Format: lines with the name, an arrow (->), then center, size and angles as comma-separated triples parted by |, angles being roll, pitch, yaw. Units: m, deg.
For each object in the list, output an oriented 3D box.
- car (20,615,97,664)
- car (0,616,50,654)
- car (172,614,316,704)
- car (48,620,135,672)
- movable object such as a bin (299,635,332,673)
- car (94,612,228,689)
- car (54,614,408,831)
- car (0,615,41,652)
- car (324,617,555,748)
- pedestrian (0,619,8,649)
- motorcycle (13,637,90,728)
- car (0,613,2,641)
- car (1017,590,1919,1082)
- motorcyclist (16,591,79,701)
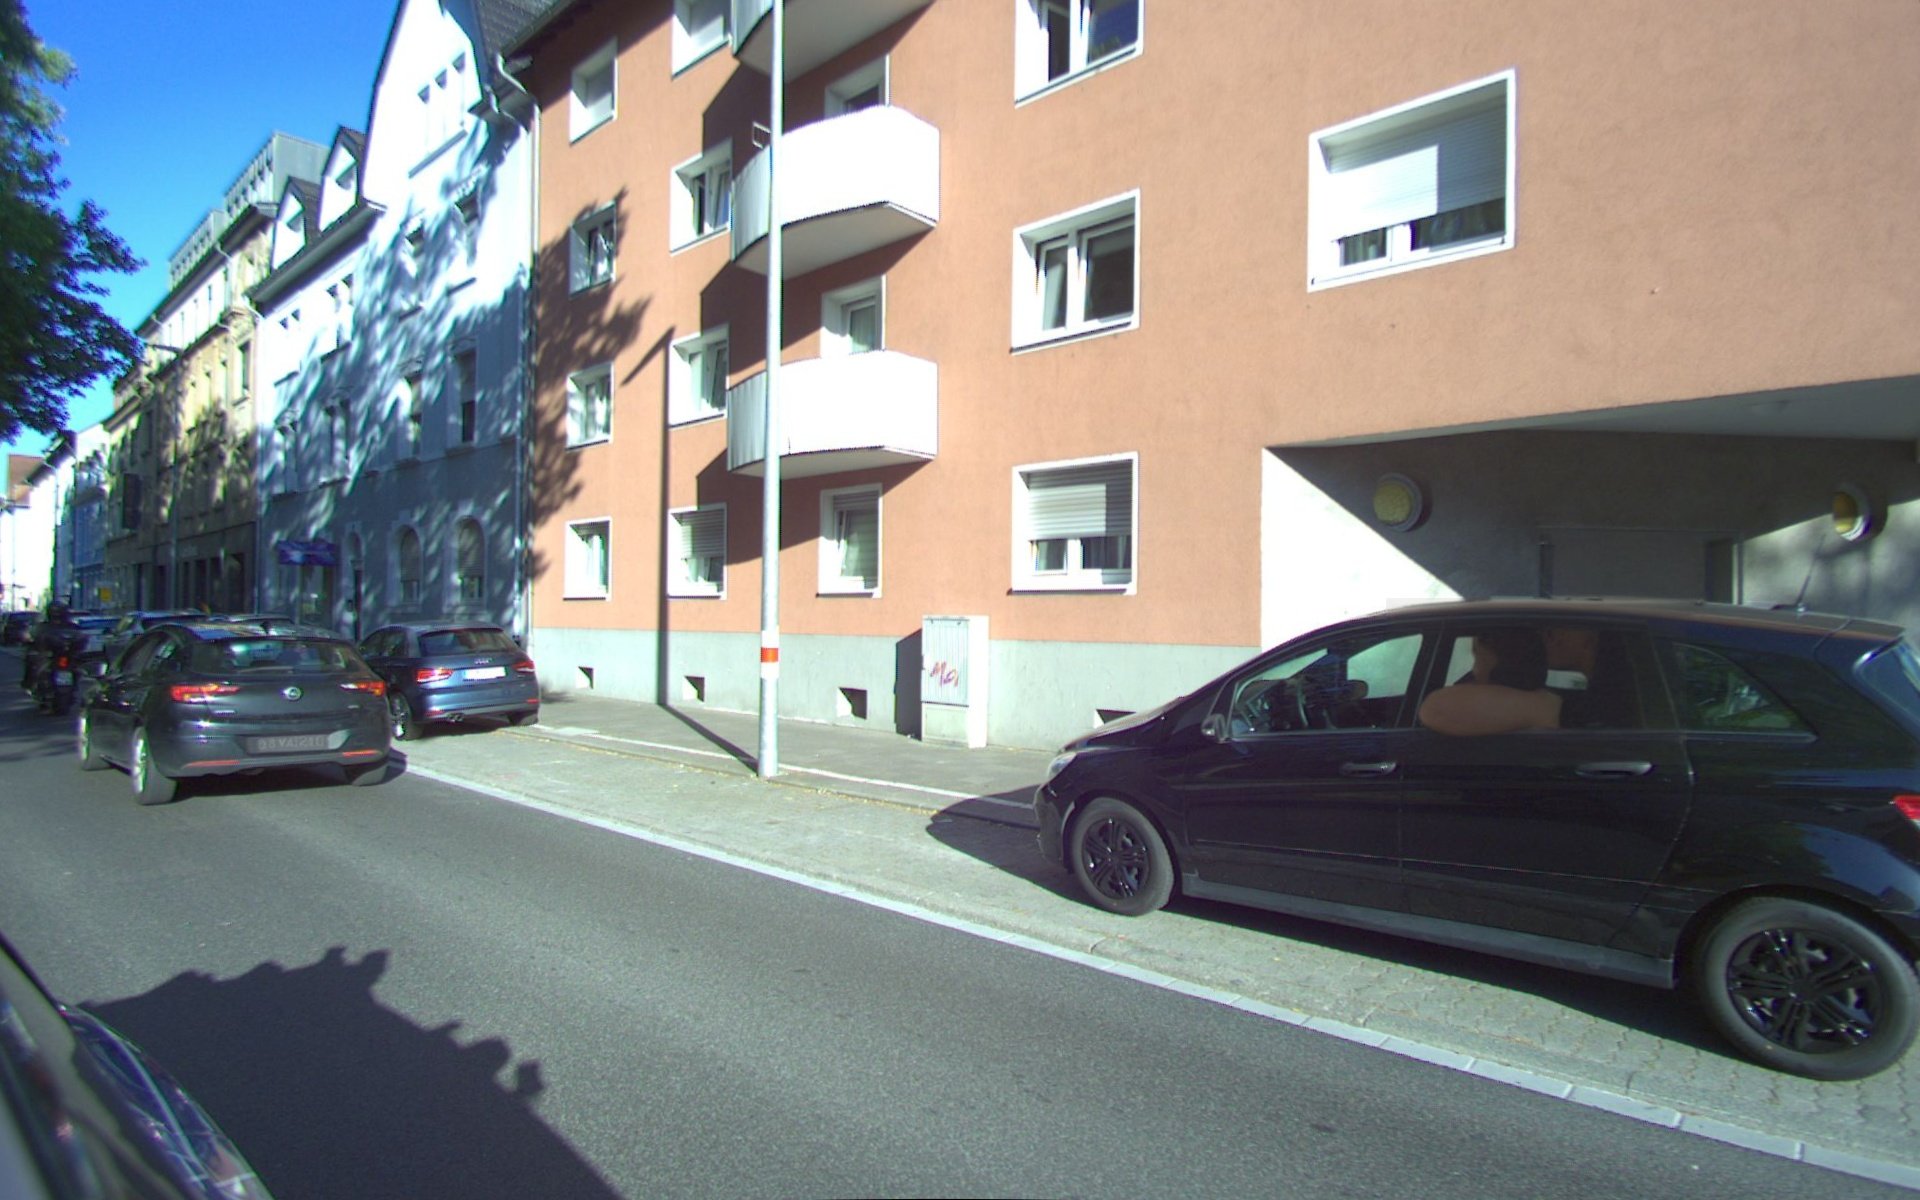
car -> -31.817, 1.348, 35.689 | 4.200, 1.597, 1.659 | -1, 0, 43
car -> -42.401, 1.540, 45.782 | 1.658, 1.617, 3.707 | -1, 0, -45
car -> -14.837, 1.132, 20.893 | 3.984, 1.654, 1.659 | -1, 0, 43
car -> -27.262, 1.396, 31.739 | 3.872, 1.507, 1.659 | -1, 0, 43
movable object such as a bin -> -16.851, 1.406, 26.463 | 0.669, 0.954, 0.551 | -1, -3, 42
car -> -19.458, 1.158, 24.578 | 4.577, 1.654, 1.887 | -1, 0, 43
car -> -6.776, 0.900, 9.212 | 4.321, 1.490, 1.752 | -1, 0, 42
car -> -46.259, 1.620, 49.378 | 4.156, 1.685, 1.762 | -1, 0, 43
car -> -7.109, 0.998, 13.686 | 3.601, 1.497, 1.659 | -1, 0, 43
pedestrian -> -50.653, 1.771, 53.170 | 0.853, 1.582, 0.706 | 2, -2, -44
motorcycle -> -13.744, 1.206, 15.292 | 2.263, 1.251, 0.541 | -1, -4, 42
car -> -60.371, 1.653, 62.378 | 1.884, 1.685, 4.496 | -1, 0, -44
car -> 2.353, 0.753, 4.905 | 4.021, 1.535, 1.659 | -1, 0, 43
motorcyclist -> -13.906, 0.689, 15.419 | 0.831, 1.617, 0.579 | -1, -2, 41
